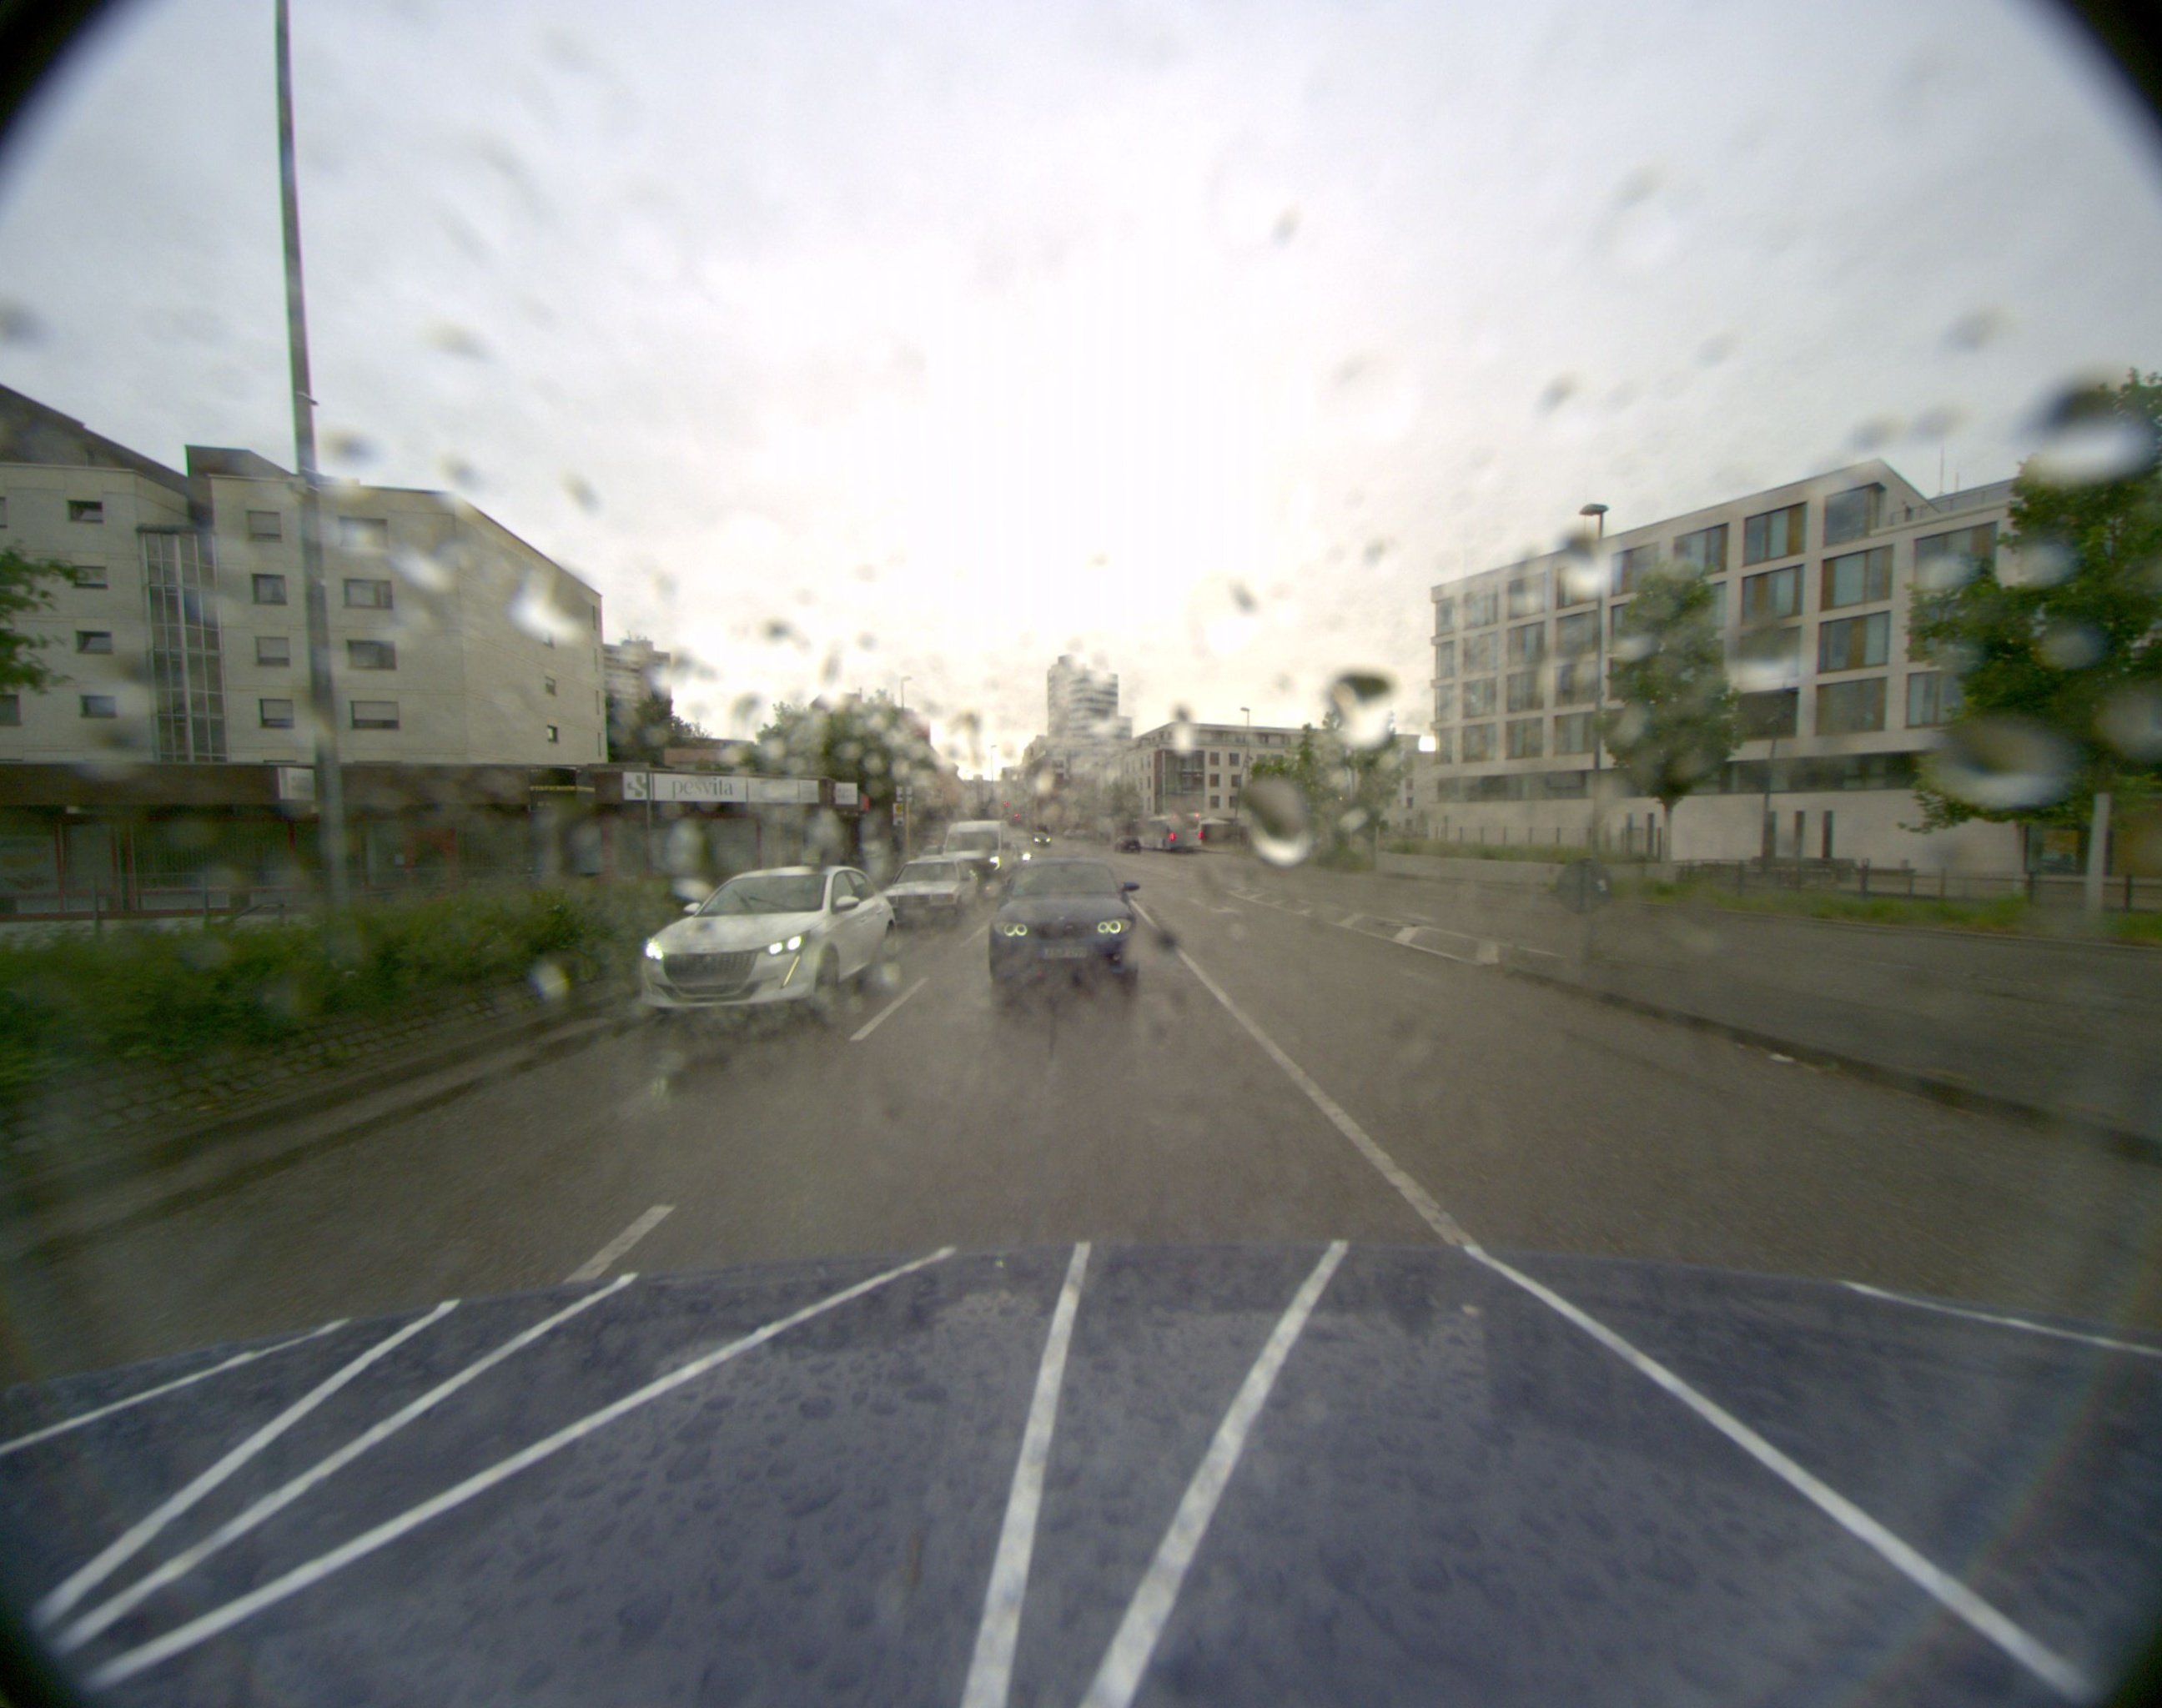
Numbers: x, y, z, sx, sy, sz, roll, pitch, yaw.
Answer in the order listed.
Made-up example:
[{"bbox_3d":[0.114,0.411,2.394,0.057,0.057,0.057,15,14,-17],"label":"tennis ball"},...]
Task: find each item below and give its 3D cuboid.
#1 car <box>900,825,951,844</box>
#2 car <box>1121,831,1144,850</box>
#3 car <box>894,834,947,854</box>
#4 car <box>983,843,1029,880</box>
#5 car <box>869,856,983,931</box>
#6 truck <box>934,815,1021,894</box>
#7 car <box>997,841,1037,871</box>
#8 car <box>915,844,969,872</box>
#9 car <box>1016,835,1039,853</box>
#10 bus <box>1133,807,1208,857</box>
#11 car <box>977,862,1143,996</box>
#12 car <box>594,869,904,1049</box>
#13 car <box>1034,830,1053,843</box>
[{"bbox_3d":[-12.801,-1.623,62.636,4.000,1.412,1.701,-2,1,-9],"label":"car"},{"bbox_3d":[4.478,-1.196,66.462,1.818,1.420,3.941,-2,2,1],"label":"car"},{"bbox_3d":[-12.698,-0.806,60.277,4.000,1.412,1.998,-2,1,-9],"label":"car"},{"bbox_3d":[-3.454,0.322,35.500,1.643,1.477,3.676,-6,1,0],"label":"car"},{"bbox_3d":[-3.371,0.804,17.188,1.718,1.369,3.734,-2,1,0],"label":"car"},{"bbox_3d":[-3.506,-0.031,27.110,2.169,2.425,6.198,-1,1,0],"label":"truck"},{"bbox_3d":[-3.525,0.126,42.324,1.999,1.543,3.999,-1,0,-2],"label":"car"},{"bbox_3d":[-7.008,0.168,38.638,1.998,1.344,3.803,1,1,0],"label":"car"},{"bbox_3d":[-4.935,-0.935,70.788,1.999,1.543,3.999,-1,0,-2],"label":"car"},{"bbox_3d":[7.875,-1.955,70.552,2.952,3.972,18.215,1,1,-6],"label":"bus"},{"bbox_3d":[-0.219,0.846,10.205,1.787,1.335,3.704,-2,1,0],"label":"car"},{"bbox_3d":[-3.410,0.970,8.764,1.718,1.389,4.035,-2,1,0],"label":"car"},{"bbox_3d":[-4.229,-1.973,85.054,1.719,1.369,3.731,-3,1,-8],"label":"car"}]
